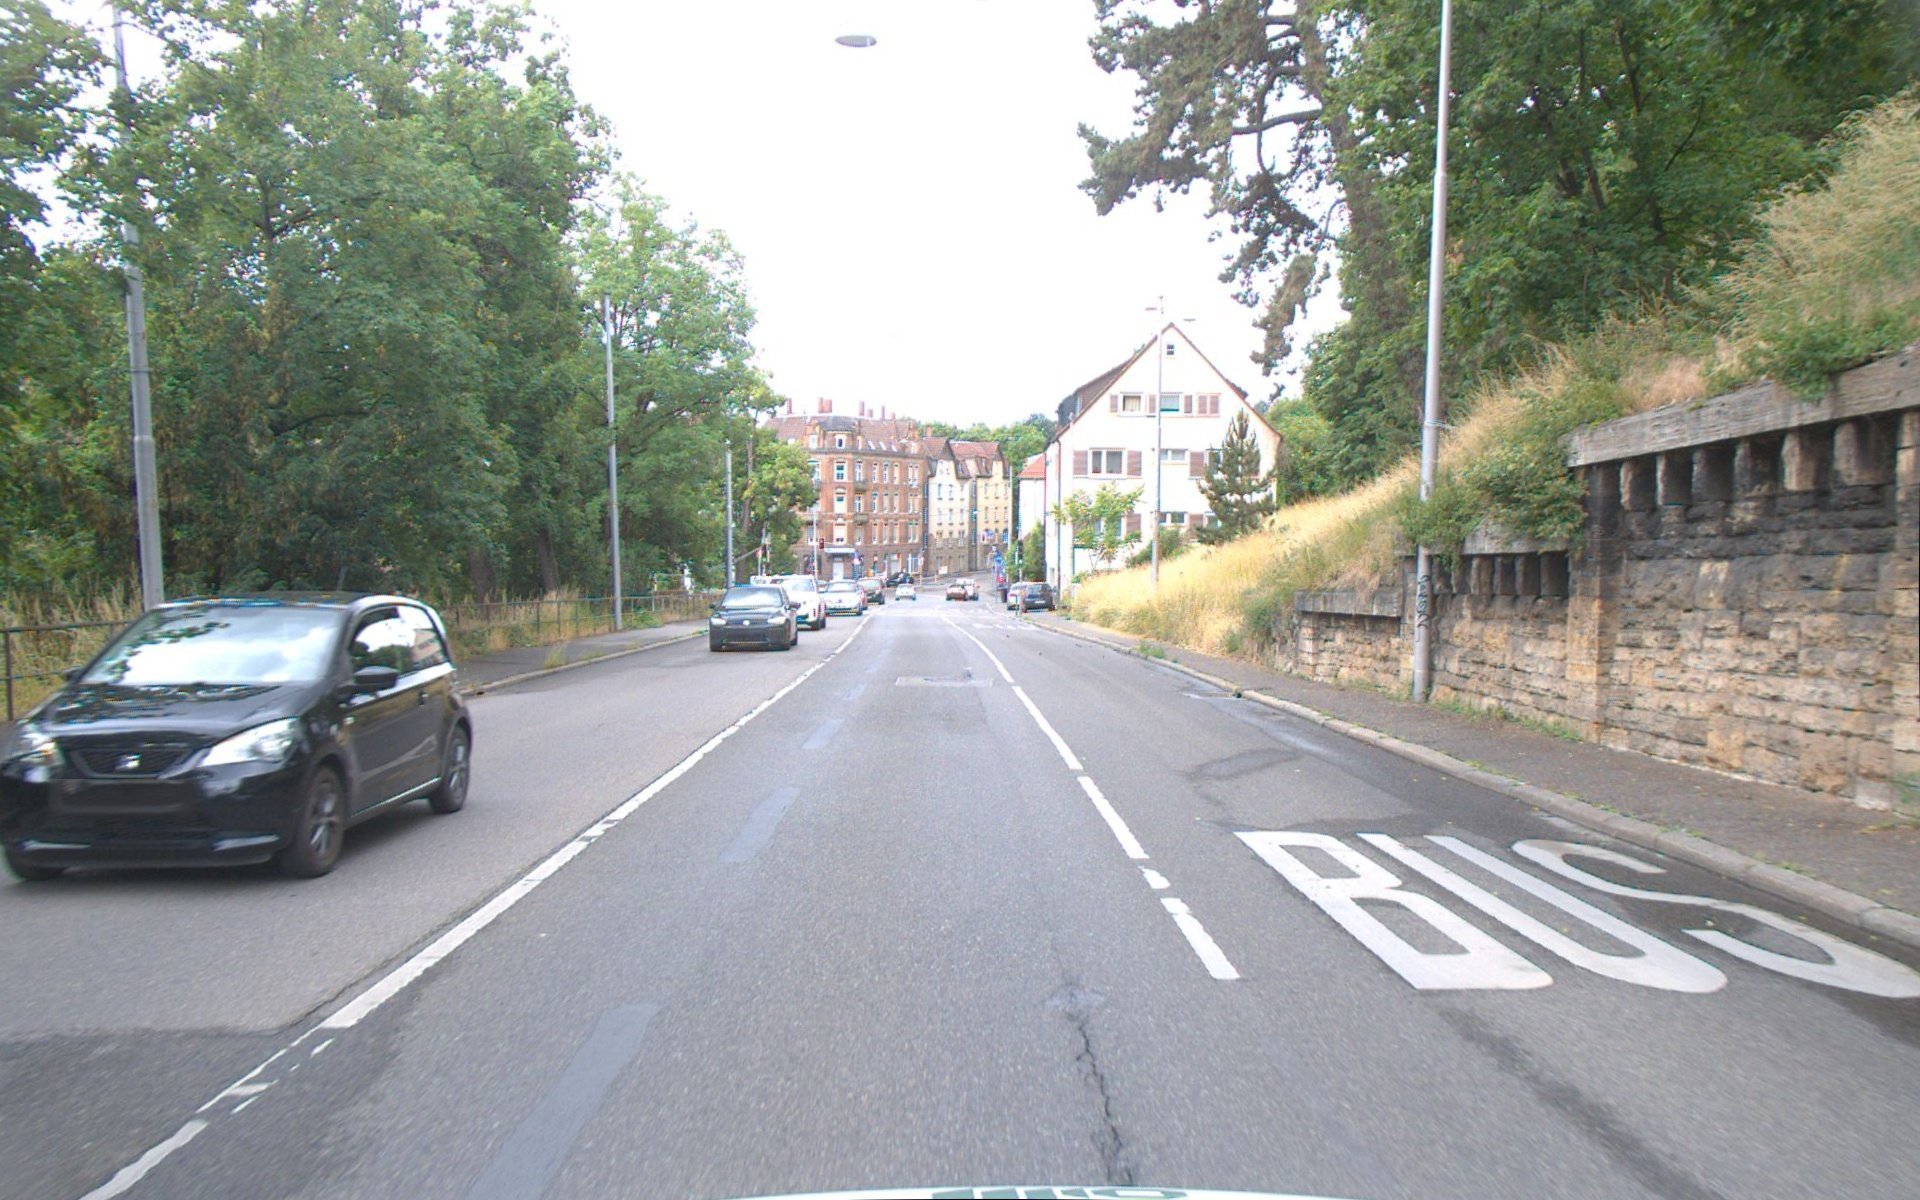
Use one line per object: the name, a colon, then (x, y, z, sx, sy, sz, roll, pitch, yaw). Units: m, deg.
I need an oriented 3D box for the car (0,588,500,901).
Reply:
car: (-4.058, 0.684, 9.835, 1.635, 1.472, 3.688, -1, 1, -1)

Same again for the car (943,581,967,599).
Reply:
car: (-0.413, -0.887, 144.502, 1.778, 1.455, 4.002, 1, 1, 3)

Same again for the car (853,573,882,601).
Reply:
car: (-6.085, -0.834, 109.194, 1.747, 1.776, 4.428, -1, 0, -1)

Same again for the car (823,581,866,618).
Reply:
car: (-5.234, -0.055, 75.085, 1.748, 1.602, 4.279, -1, 0, -2)

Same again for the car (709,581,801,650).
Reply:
car: (-4.583, 0.315, 37.430, 1.678, 1.452, 4.137, -1, 1, -2)

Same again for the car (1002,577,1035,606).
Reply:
car: (3.306, -0.504, 93.011, 1.757, 1.476, 4.720, -3, 1, 2)

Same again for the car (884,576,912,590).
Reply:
car: (-7.141, -1.971, 190.782, 1.940, 1.602, 4.378, -2, 0, 16)

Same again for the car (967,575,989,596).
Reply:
car: (1.657, -1.323, 151.462, 1.869, 1.917, 4.002, 1, 0, 3)

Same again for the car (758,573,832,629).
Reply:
car: (-5.265, -0.002, 53.268, 1.955, 1.712, 4.662, -1, 1, -1)

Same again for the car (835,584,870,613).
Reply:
car: (-5.777, -0.100, 89.191, 1.748, 1.485, 4.427, -1, 0, -2)

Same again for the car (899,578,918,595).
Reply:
car: (-4.606, -1.238, 147.750, 1.686, 1.470, 4.158, -1, 1, -2)

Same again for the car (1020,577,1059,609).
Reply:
car: (4.017, -0.331, 84.138, 1.648, 1.476, 3.999, -4, 0, -1)
